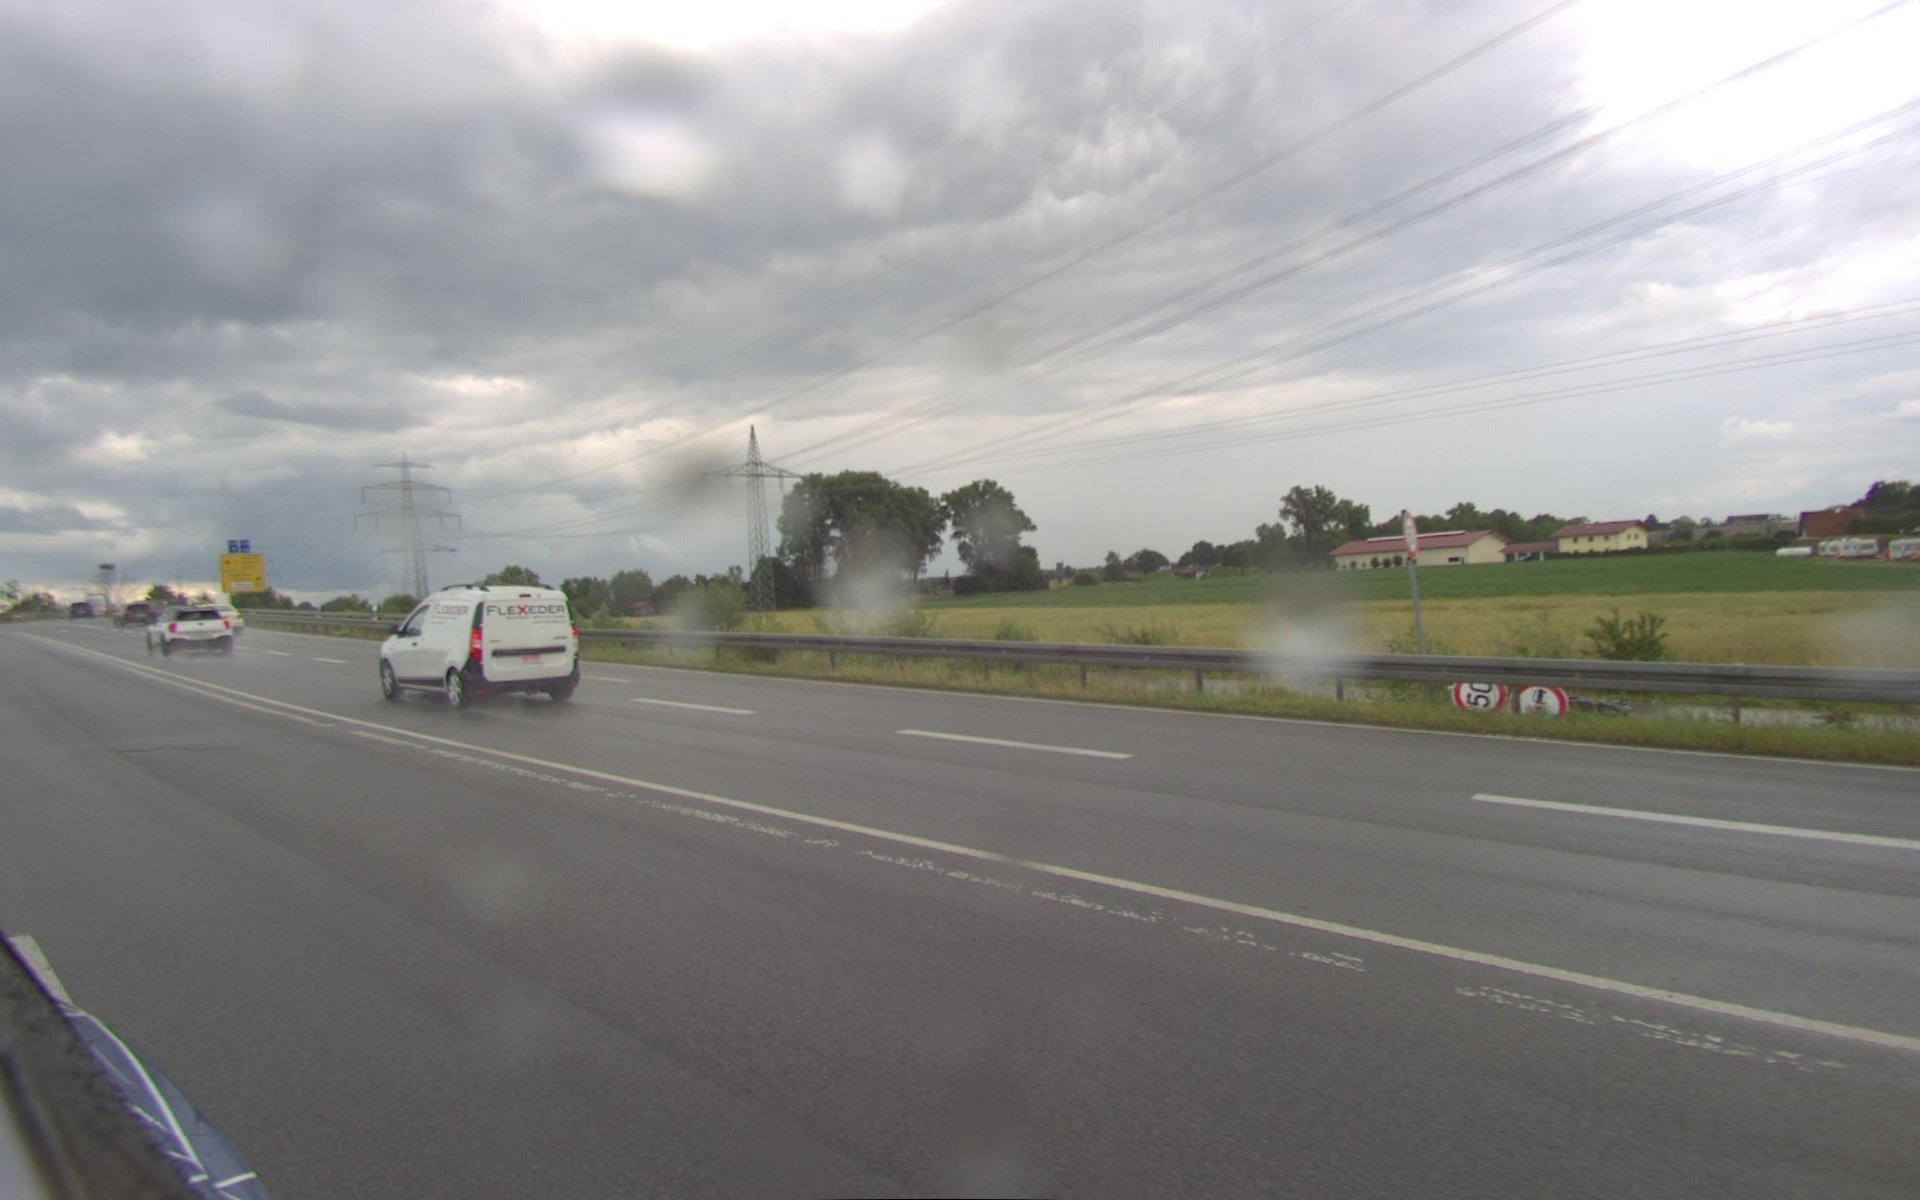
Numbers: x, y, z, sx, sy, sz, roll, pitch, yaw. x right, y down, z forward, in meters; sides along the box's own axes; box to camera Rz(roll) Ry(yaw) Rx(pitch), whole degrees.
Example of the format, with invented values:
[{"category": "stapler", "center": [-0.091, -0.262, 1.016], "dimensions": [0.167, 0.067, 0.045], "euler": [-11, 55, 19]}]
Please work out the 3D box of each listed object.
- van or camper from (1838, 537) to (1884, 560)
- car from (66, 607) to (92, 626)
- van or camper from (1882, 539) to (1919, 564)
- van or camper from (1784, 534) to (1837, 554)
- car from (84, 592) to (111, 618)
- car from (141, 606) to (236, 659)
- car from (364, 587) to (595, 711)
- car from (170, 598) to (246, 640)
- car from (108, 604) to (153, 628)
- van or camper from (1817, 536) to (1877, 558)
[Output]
[{"category": "van or camper", "center": [113.629, -6.498, 127.735], "dimensions": [2.311, 2.651, 5.682], "euler": [-2, 3, 20]}, {"category": "car", "center": [-80.817, 1.525, 92.878], "dimensions": [1.687, 1.622, 4.643], "euler": [-3, 2, -41]}, {"category": "van or camper", "center": [107.188, -5.491, 114.460], "dimensions": [2.311, 2.651, 5.682], "euler": [-2, 3, 20]}, {"category": "van or camper", "center": [129.745, -8.492, 154.464], "dimensions": [5.691, 2.651, 2.307], "euler": [-2, 3, 28]}, {"category": "car", "center": [-93.399, 0.549, 109.664], "dimensions": [1.945, 2.674, 5.470], "euler": [-4, 2, -39]}, {"category": "car", "center": [-24.247, 0.979, 31.765], "dimensions": [4.211, 1.511, 1.747], "euler": [-1, 1, 44]}, {"category": "car", "center": [-7.583, 0.689, 15.779], "dimensions": [4.370, 1.678, 1.771], "euler": [-1, -1, 43]}, {"category": "car", "center": [-34.430, 0.860, 46.305], "dimensions": [4.646, 1.672, 1.922], "euler": [-1, 4, 43]}, {"category": "car", "center": [-53.017, 1.004, 64.683], "dimensions": [1.750, 1.437, 4.737], "euler": [-2, 1, -45]}, {"category": "van or camper", "center": [121.140, -7.281, 138.342], "dimensions": [5.691, 2.651, 2.307], "euler": [-2, 3, 28]}]
